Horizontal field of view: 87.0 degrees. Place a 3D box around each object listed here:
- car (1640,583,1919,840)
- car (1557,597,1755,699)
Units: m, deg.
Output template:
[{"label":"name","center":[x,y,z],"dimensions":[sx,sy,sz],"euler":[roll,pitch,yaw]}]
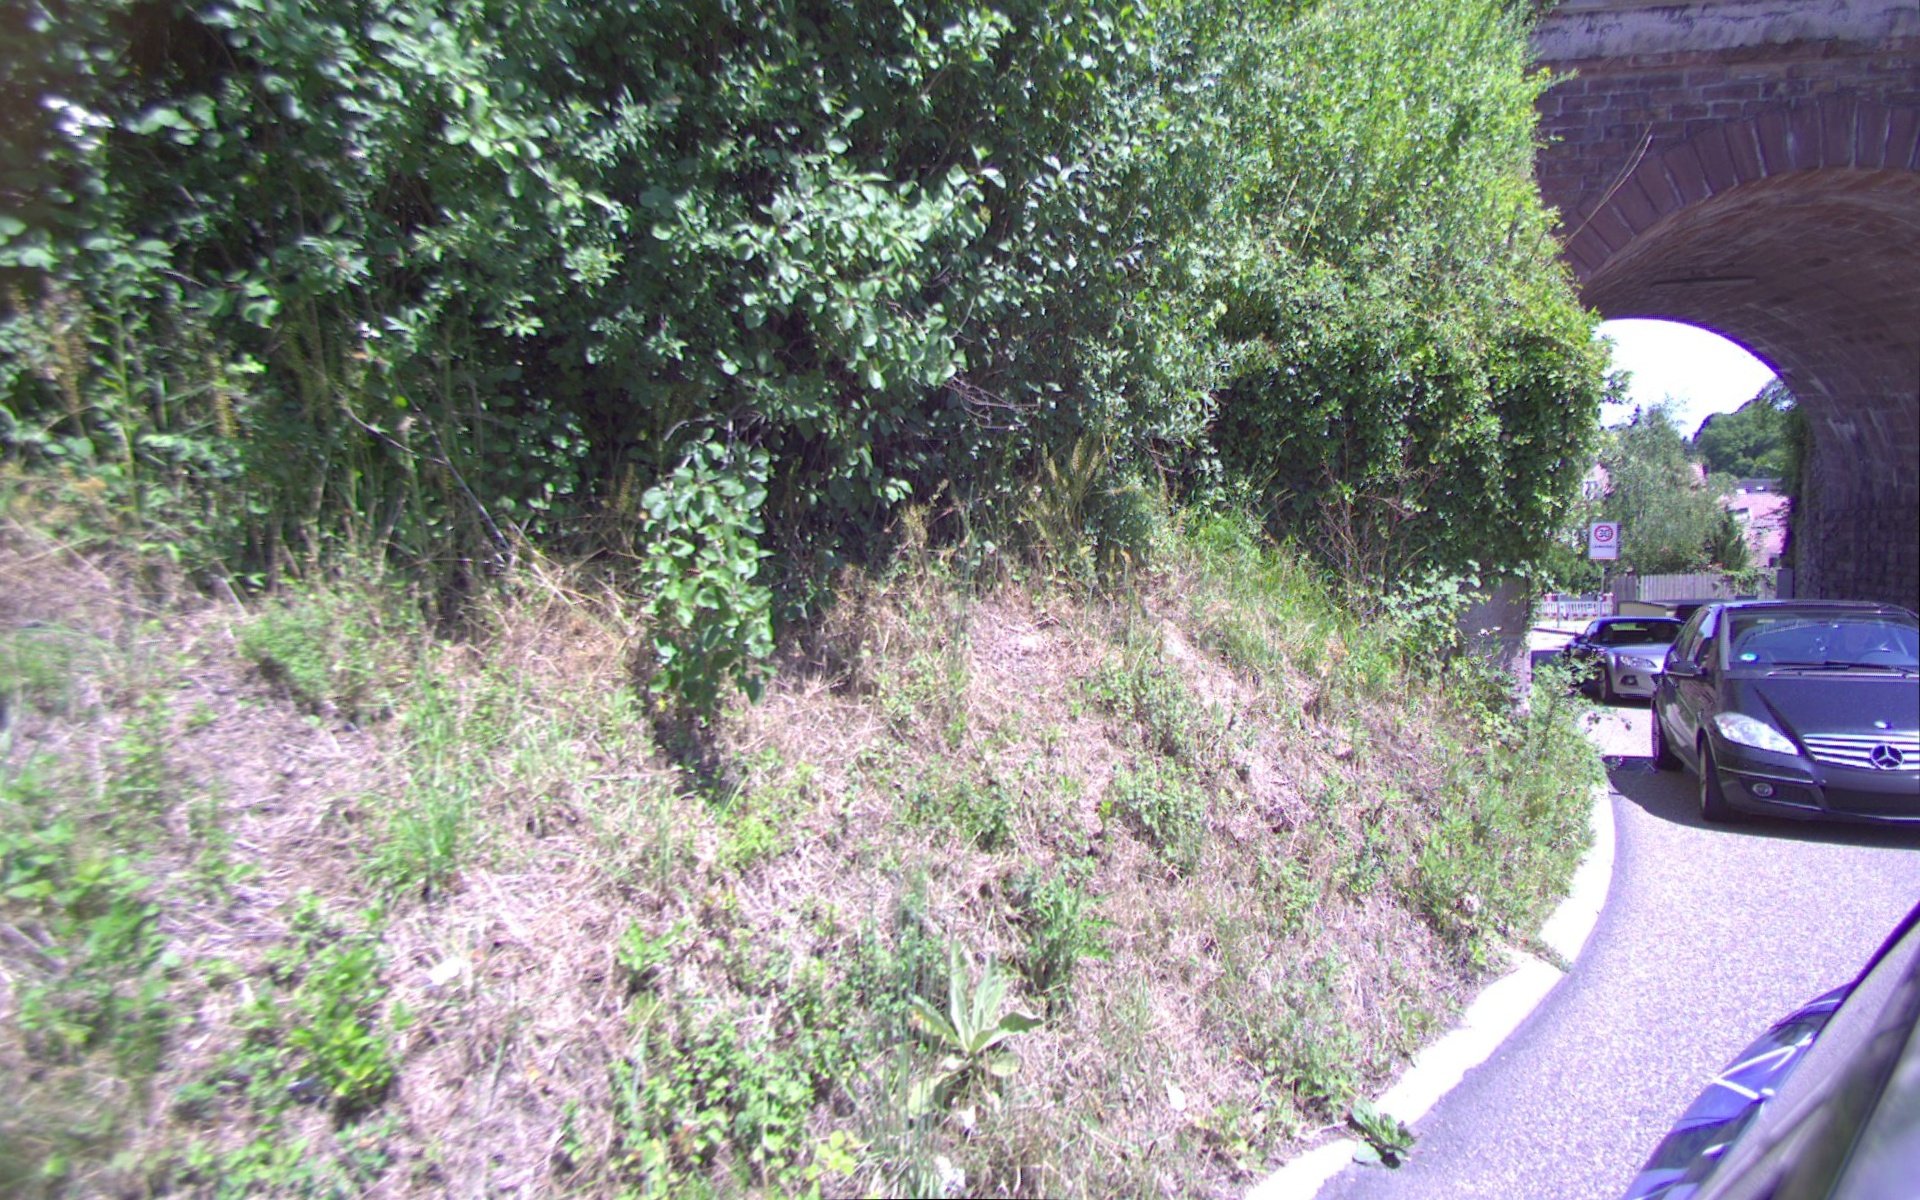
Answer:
[{"label":"car","center":[6.725,0.701,8.065],"dimensions":[1.781,1.600,3.761],"euler":[0,0,28]},{"label":"car","center":[10.549,0.676,15.607],"dimensions":[1.628,1.339,3.416],"euler":[-2,0,20]}]
